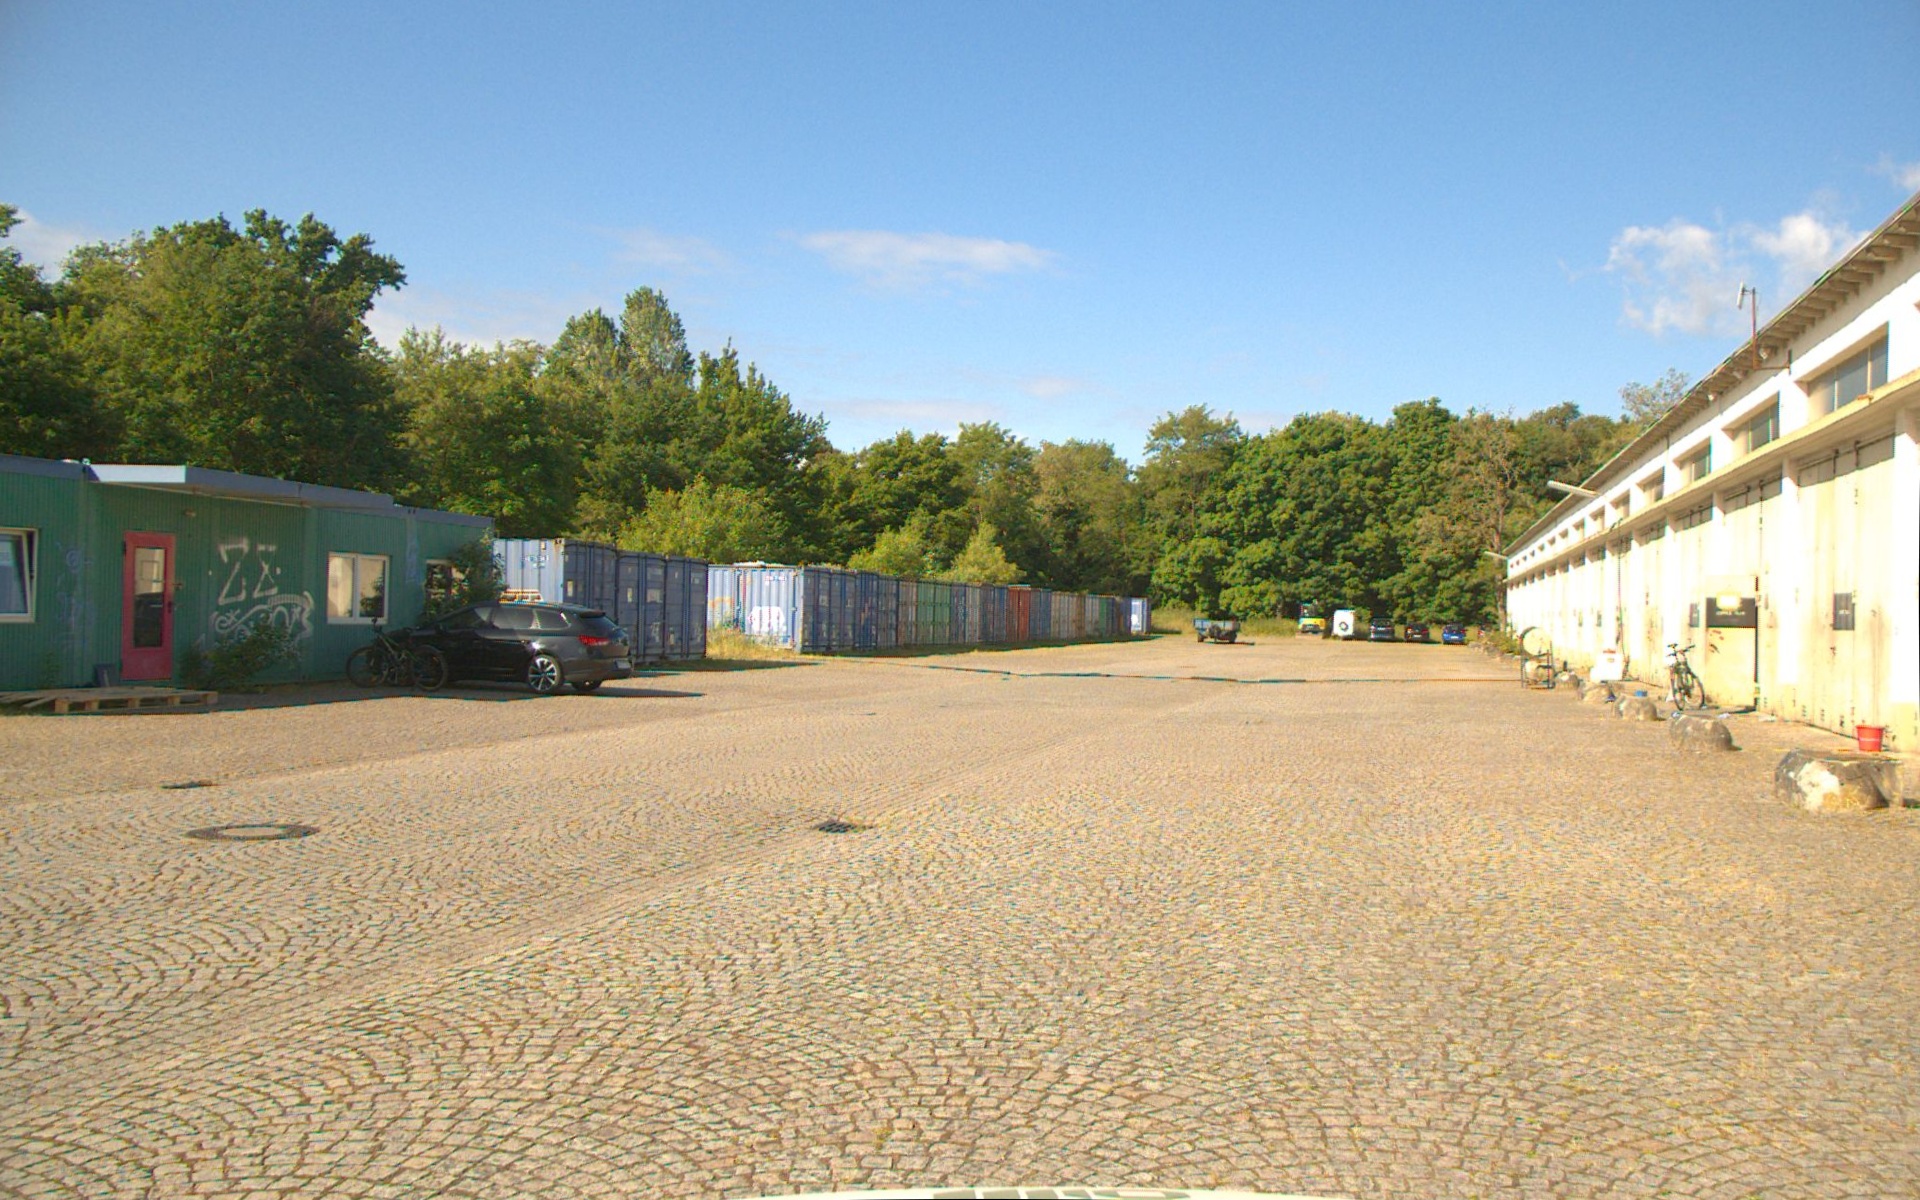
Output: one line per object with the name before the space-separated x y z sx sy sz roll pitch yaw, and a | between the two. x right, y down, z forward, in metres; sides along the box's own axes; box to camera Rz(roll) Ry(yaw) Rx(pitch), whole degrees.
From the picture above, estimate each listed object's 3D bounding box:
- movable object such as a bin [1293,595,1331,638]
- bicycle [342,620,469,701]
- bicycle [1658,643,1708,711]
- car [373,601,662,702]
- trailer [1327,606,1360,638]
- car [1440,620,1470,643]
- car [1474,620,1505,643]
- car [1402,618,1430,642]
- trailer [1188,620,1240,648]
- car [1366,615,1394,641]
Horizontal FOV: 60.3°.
movable object such as a bin | 26.099 1.207 122.617 2.258 2.947 5.755 2 1 16
bicycle | -8.689 0.943 25.919 1.765 1.190 0.669 2 -1 13
bicycle | 12.330 1.297 28.186 0.652 1.087 1.822 1 -1 27
car | -7.299 0.830 27.427 4.161 1.475 1.933 2 -1 14
trailer | 28.175 1.601 121.399 2.147 2.131 5.755 2 1 15
car | 35.107 2.208 117.246 1.708 1.461 4.183 2 1 21
car | 37.792 2.211 117.941 1.709 1.461 4.182 2 1 22
car | 32.519 2.151 118.053 1.824 1.495 4.299 2 1 15
trailer | 16.020 2.129 103.963 2.648 1.491 6.252 2 1 14
car | 30.081 1.988 118.371 1.824 1.617 4.299 2 1 15
